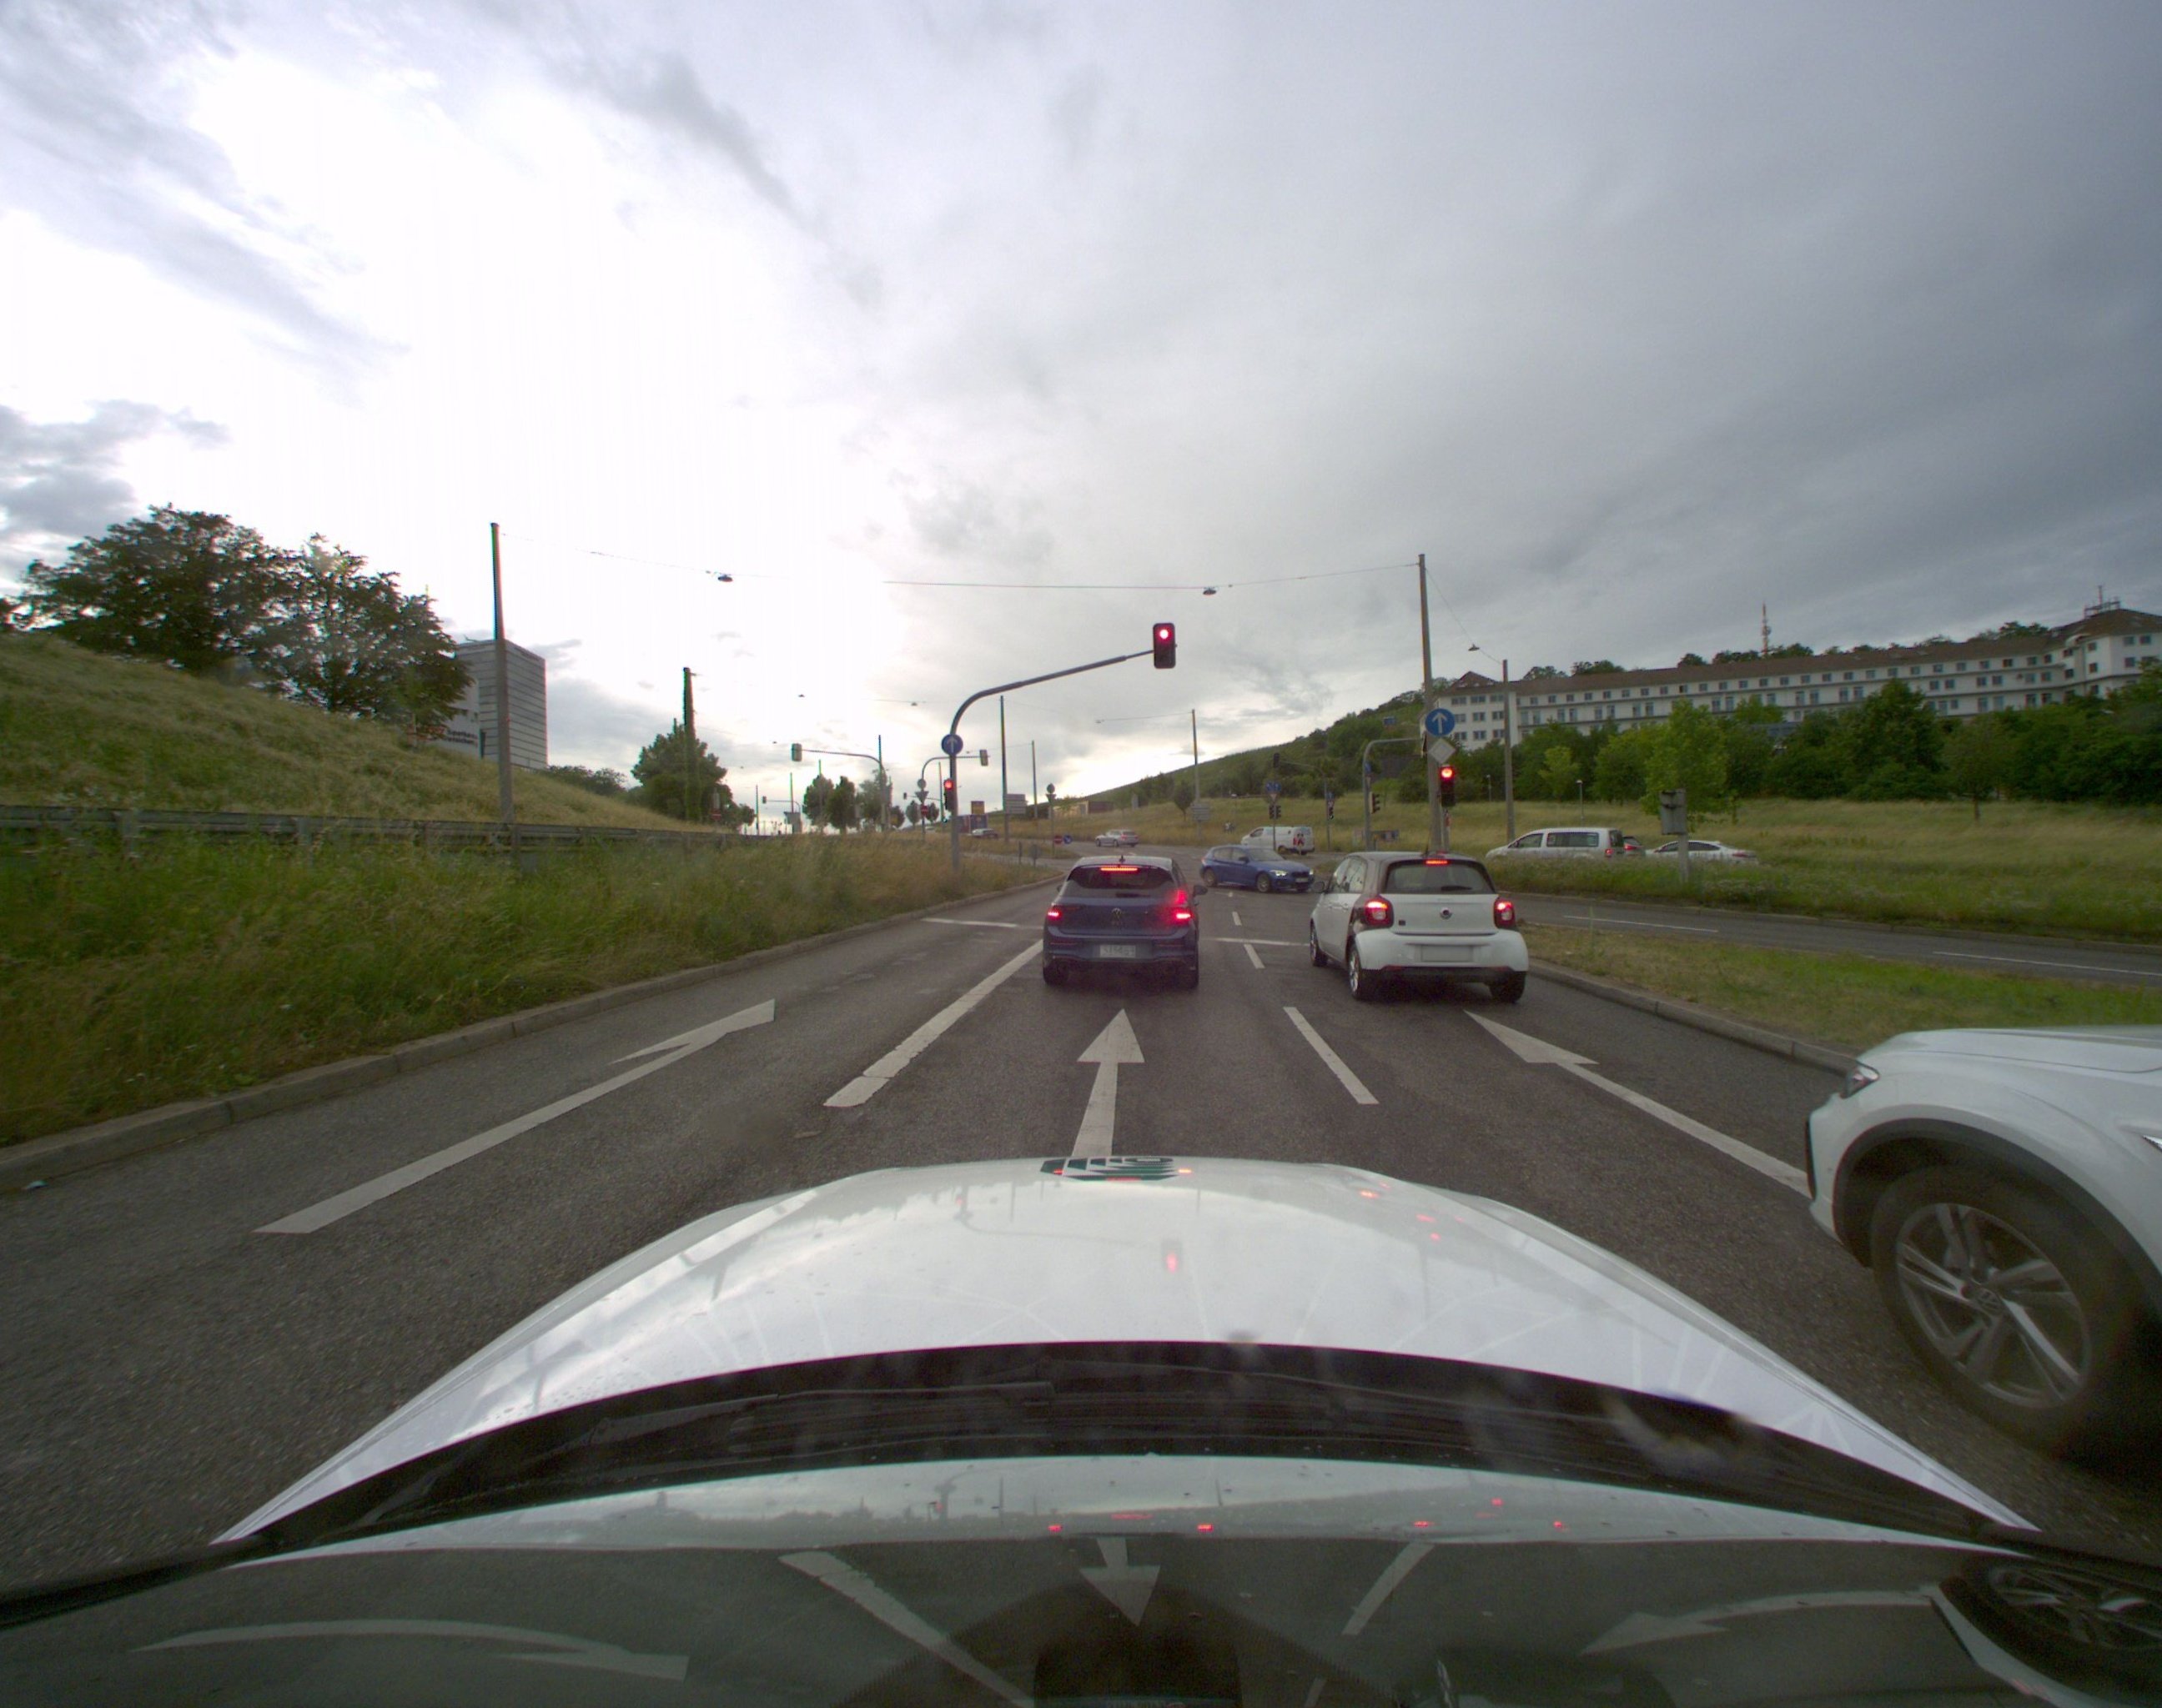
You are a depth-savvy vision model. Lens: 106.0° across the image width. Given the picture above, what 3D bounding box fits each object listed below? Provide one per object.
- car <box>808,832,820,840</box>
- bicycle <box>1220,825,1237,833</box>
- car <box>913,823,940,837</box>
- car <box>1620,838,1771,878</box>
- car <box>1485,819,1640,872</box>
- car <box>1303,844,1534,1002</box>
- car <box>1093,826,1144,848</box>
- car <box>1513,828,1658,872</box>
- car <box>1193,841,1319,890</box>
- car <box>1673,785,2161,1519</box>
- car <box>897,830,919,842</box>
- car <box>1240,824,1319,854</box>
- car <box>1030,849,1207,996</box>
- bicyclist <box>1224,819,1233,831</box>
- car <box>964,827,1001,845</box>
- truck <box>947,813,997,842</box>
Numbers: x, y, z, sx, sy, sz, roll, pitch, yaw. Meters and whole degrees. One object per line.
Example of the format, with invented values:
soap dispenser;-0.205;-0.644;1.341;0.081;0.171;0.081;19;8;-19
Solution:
car;-56.959;-3.883;173.474;1.764;1.706;3.702;2;1;-28
bicycle;13.690;-2.326;75.576;0.522;0.775;1.602;2;1;-39
car;-20.102;-3.101;106.039;2.007;1.659;4.499;0;-1;-32
car;24.347;0.167;32.403;2.008;1.477;4.374;0;-1;-33
car;17.889;-0.274;30.457;1.830;1.850;4.644;0;-1;-38
car;3.707;0.673;9.562;1.649;1.503;3.458;-1;-1;7
car;3.089;-1.410;67.969;2.007;1.659;4.499;0;-1;-32
car;19.959;-0.109;32.404;2.010;1.620;4.473;0;-1;-38
car;5.592;0.358;26.523;1.704;1.475;4.254;0;-1;-28
car;3.138;0.620;1.018;1.708;1.553;4.228;0;0;0
car;-25.339;-2.634;119.143;2.005;1.659;4.503;0;-1;-28
car;12.505;-0.897;51.565;2.143;1.794;4.692;0;-1;-32
car;0.611;0.692;10.257;1.815;1.460;3.816;0;1;7
bicyclist;13.663;-2.701;75.602;0.527;1.046;0.574;2;0;-39
car;-9.742;-1.771;80.283;2.007;1.659;4.309;0;-1;-32
truck;-12.420;-3.005;92.363;3.280;3.074;6.113;2;1;-33
